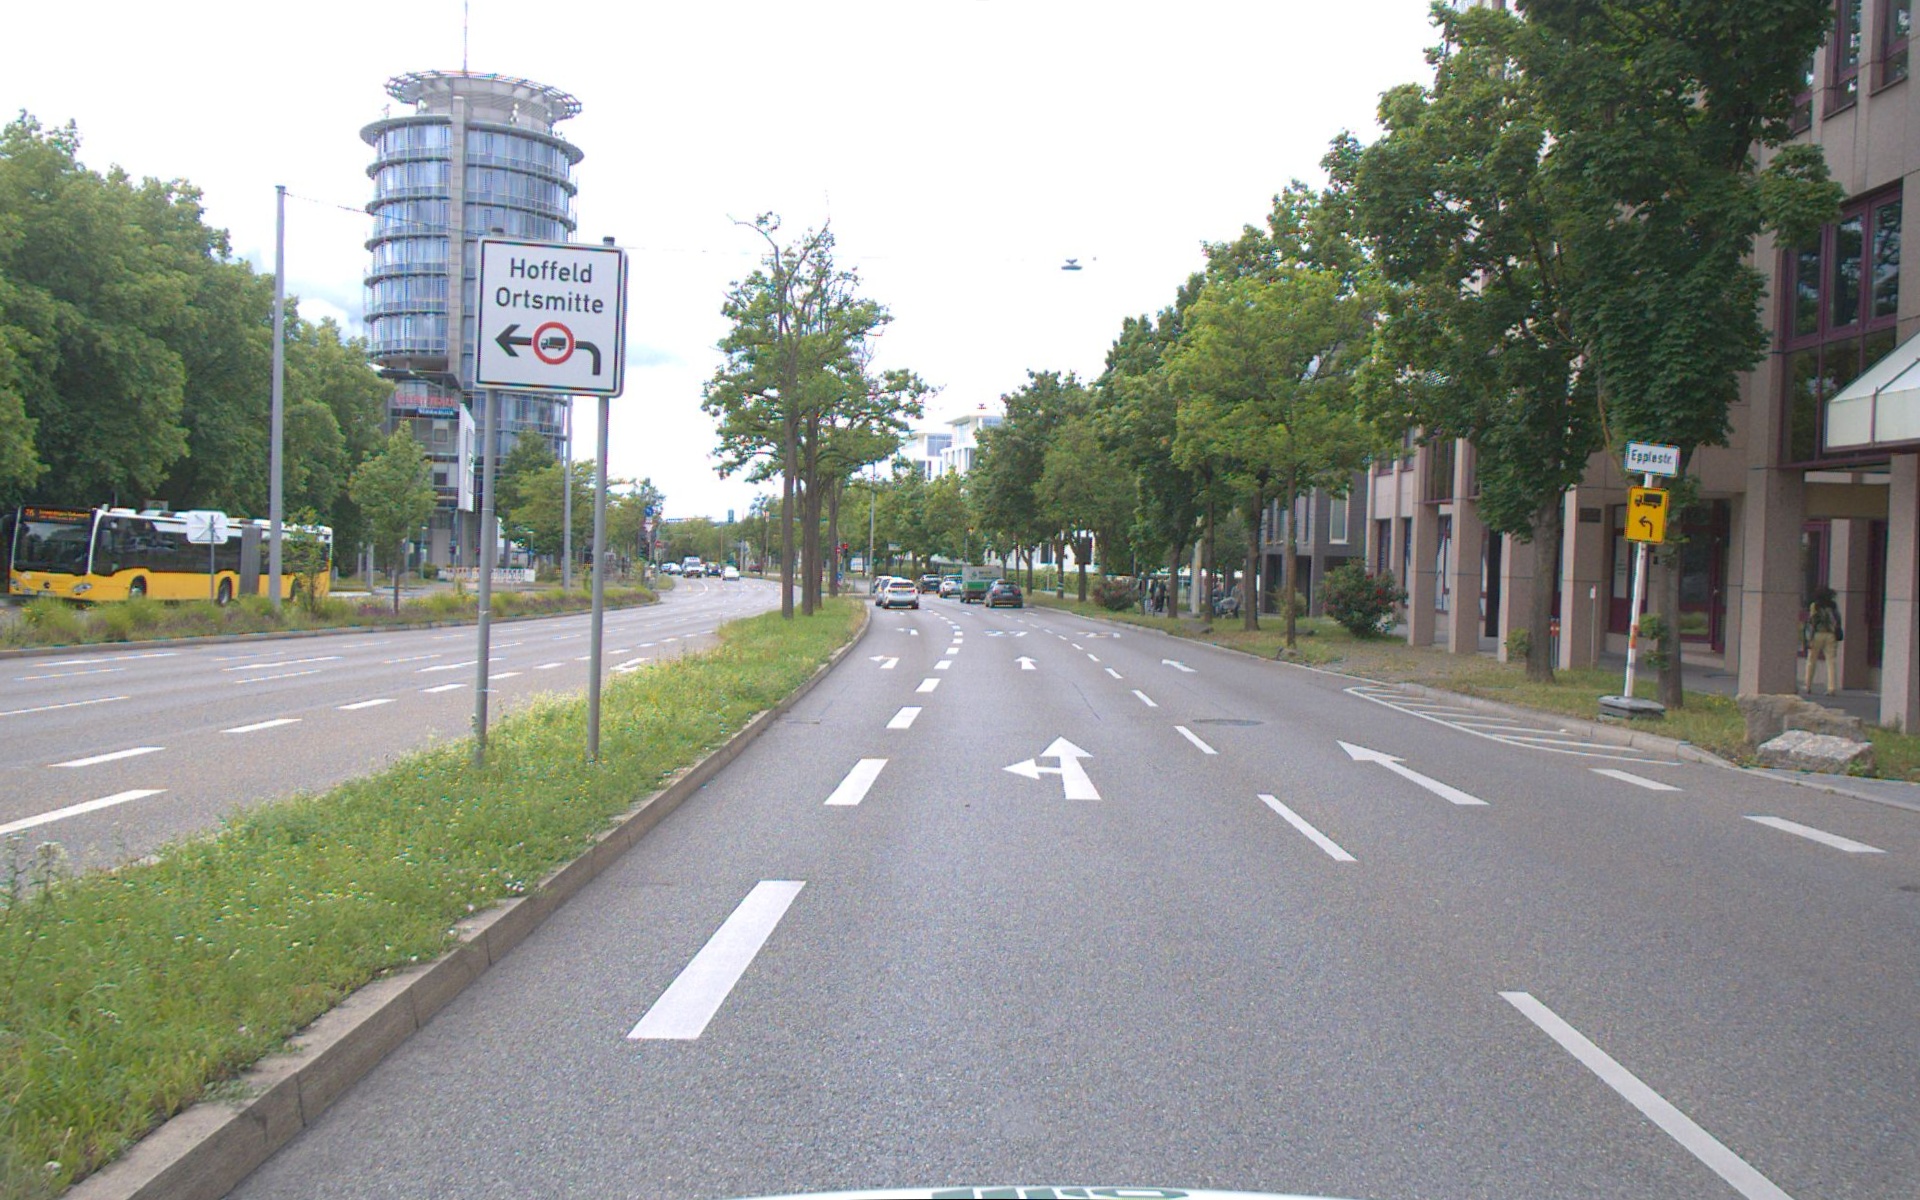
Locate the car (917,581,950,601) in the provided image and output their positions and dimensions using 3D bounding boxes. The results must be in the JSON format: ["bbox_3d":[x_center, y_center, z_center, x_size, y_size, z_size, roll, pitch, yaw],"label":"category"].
[{"bbox_3d":[-2.128,-0.745,132.084,1.957,1.534,3.990,1,1,-10],"label":"car"}]

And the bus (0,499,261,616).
[{"bbox_3d":[-26.295,-1.274,53.040,3.020,3.217,10.738,3,0,0],"label":"bus"}]

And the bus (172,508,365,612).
[{"bbox_3d":[-26.190,-1.454,63.349,2.969,3.515,9.912,3,0,1],"label":"bus"}]

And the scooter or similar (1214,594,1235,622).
[{"bbox_3d":[9.995,0.301,62.451,0.572,1.011,0.845,0,0,-7],"label":"scooter or similar"}]

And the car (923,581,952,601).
[{"bbox_3d":[-1.813,-0.752,132.112,1.955,1.516,3.995,1,1,-6],"label":"car"}]

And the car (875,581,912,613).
[{"bbox_3d":[-3.721,-0.174,91.885,1.954,1.701,3.998,1,0,-3],"label":"car"}]

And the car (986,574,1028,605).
[{"bbox_3d":[2.504,-0.573,88.607,1.953,1.624,3.998,1,1,-2],"label":"car"}]

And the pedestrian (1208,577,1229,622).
[{"bbox_3d":[9.897,-0.027,63.350,0.544,1.681,0.960,0,0,-7],"label":"pedestrian"}]

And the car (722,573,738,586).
[{"bbox_3d":[-27.058,-2.393,194.533,1.719,1.469,4.129,3,0,-7],"label":"car"}]

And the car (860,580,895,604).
[{"bbox_3d":[-5.521,-0.568,110.943,1.952,1.534,4.001,1,1,2],"label":"car"}]

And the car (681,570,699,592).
[{"bbox_3d":[-34.820,-2.422,213.574,1.955,2.680,5.867,2,0,-6],"label":"car"}]

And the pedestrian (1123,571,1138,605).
[{"bbox_3d":[9.183,-0.638,89.002,0.596,1.806,0.953,1,2,-3],"label":"pedestrian"}]

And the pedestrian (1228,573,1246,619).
[{"bbox_3d":[10.595,-0.147,63.298,0.555,1.729,0.829,1,0,1],"label":"pedestrian"}]

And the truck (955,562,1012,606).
[{"bbox_3d":[1.368,-0.959,101.567,2.804,2.563,6.280,1,0,-6],"label":"truck"}]

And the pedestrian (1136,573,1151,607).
[{"bbox_3d":[9.870,-0.536,89.111,0.596,1.806,0.953,1,2,-3],"label":"pedestrian"}]

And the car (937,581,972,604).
[{"bbox_3d":[-0.393,-0.552,113.363,1.955,1.534,3.995,1,1,-6],"label":"car"}]

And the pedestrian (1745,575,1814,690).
[{"bbox_3d":[12.626,0.491,25.496,0.582,1.734,0.970,1,0,2],"label":"pedestrian"}]

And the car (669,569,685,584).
[{"bbox_3d":[-40.412,-3.354,236.269,1.955,2.046,4.318,3,0,-7],"label":"car"}]

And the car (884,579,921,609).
[{"bbox_3d":[-2.953,-0.322,84.856,1.825,1.474,3.999,1,0,-1],"label":"car"}]

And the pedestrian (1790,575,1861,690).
[{"bbox_3d":[13.334,0.483,25.513,0.582,1.734,0.970,1,0,2],"label":"pedestrian"}]
